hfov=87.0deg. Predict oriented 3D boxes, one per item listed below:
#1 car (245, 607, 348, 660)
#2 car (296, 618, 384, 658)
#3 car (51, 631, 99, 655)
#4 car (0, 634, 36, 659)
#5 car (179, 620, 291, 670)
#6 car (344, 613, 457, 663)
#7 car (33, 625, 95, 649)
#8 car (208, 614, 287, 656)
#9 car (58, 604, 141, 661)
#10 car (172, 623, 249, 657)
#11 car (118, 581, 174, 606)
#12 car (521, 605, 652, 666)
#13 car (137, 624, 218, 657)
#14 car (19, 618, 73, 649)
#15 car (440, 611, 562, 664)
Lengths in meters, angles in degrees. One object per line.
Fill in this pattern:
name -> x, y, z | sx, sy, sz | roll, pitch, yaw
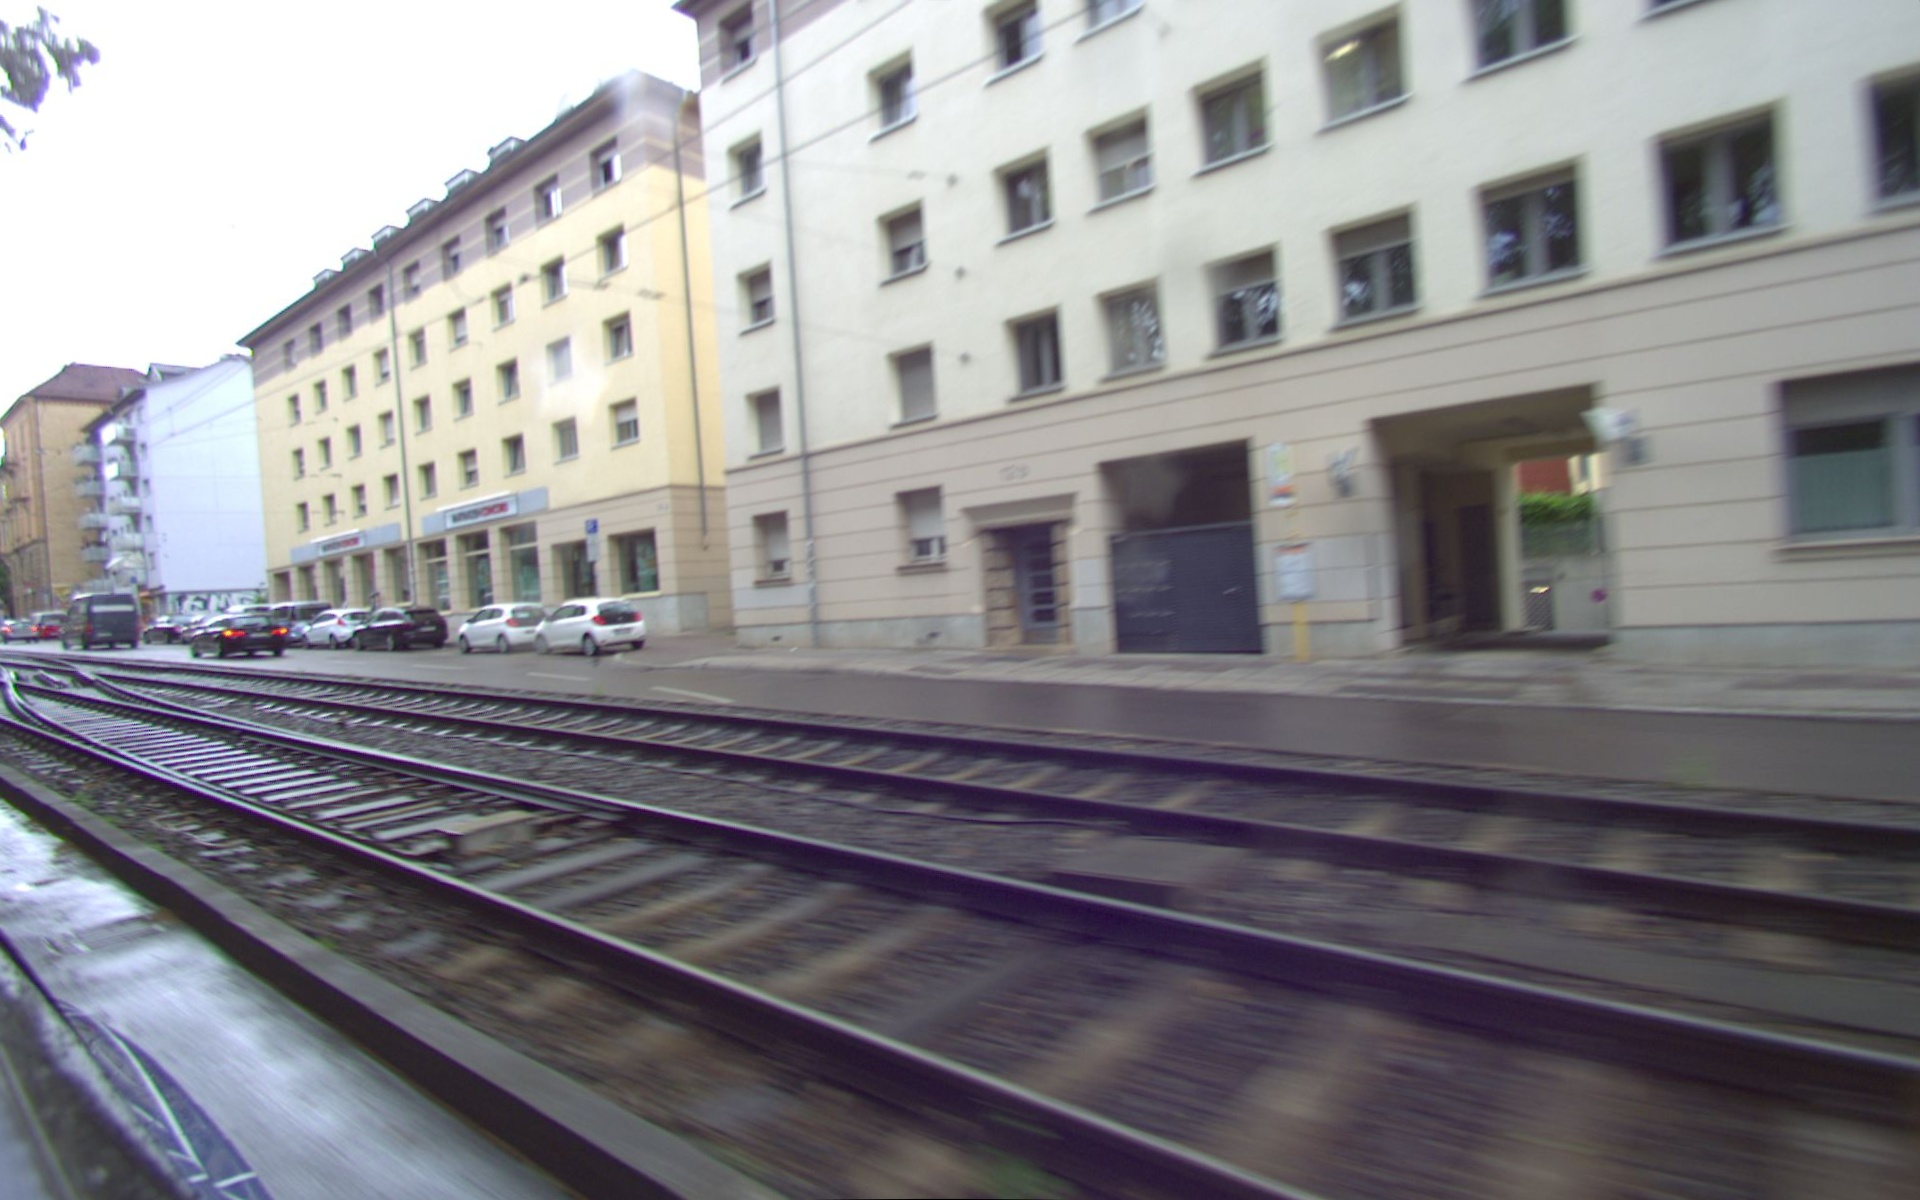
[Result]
car -> -27.594, 1.368, 42.024 | 5.455, 1.919, 1.974 | -2, 3, 40
car -> -23.713, 1.460, 38.686 | 4.046, 1.450, 1.674 | -2, -3, 40
car -> -58.758, 2.848, 67.194 | 4.068, 1.462, 1.638 | -1, 1, 38
car -> -60.800, 2.984, 64.929 | 4.277, 1.473, 1.695 | -2, 0, 40
car -> -24.451, 1.499, 34.064 | 4.849, 1.497, 1.861 | -2, 0, 40
car -> -19.521, 1.307, 35.215 | 4.577, 1.510, 1.796 | -2, 2, 39
car -> -63.170, 2.590, 71.430 | 1.755, 1.444, 3.994 | -3, 2, -17
car -> -32.450, 1.574, 46.047 | 4.457, 1.729, 1.848 | -1, 1, 41
car -> -41.234, 1.502, 48.463 | 5.993, 2.470, 1.974 | -1, 2, 40
car -> -36.603, 1.917, 49.368 | 4.827, 1.442, 1.833 | -1, 3, 40
car -> -50.162, -0.390, 62.339 | 4.616, 1.406, 1.664 | -1, 1, 38
car -> -10.326, 0.951, 27.931 | 3.536, 1.460, 1.693 | -2, 3, 37
car -> -40.839, 2.096, 52.773 | 4.978, 1.519, 1.836 | -1, 1, 34
car -> -67.039, 2.465, 74.199 | 5.296, 2.023, 2.050 | -2, 4, 39
car -> -14.087, 1.141, 30.971 | 3.929, 1.407, 1.688 | -2, 2, 37
